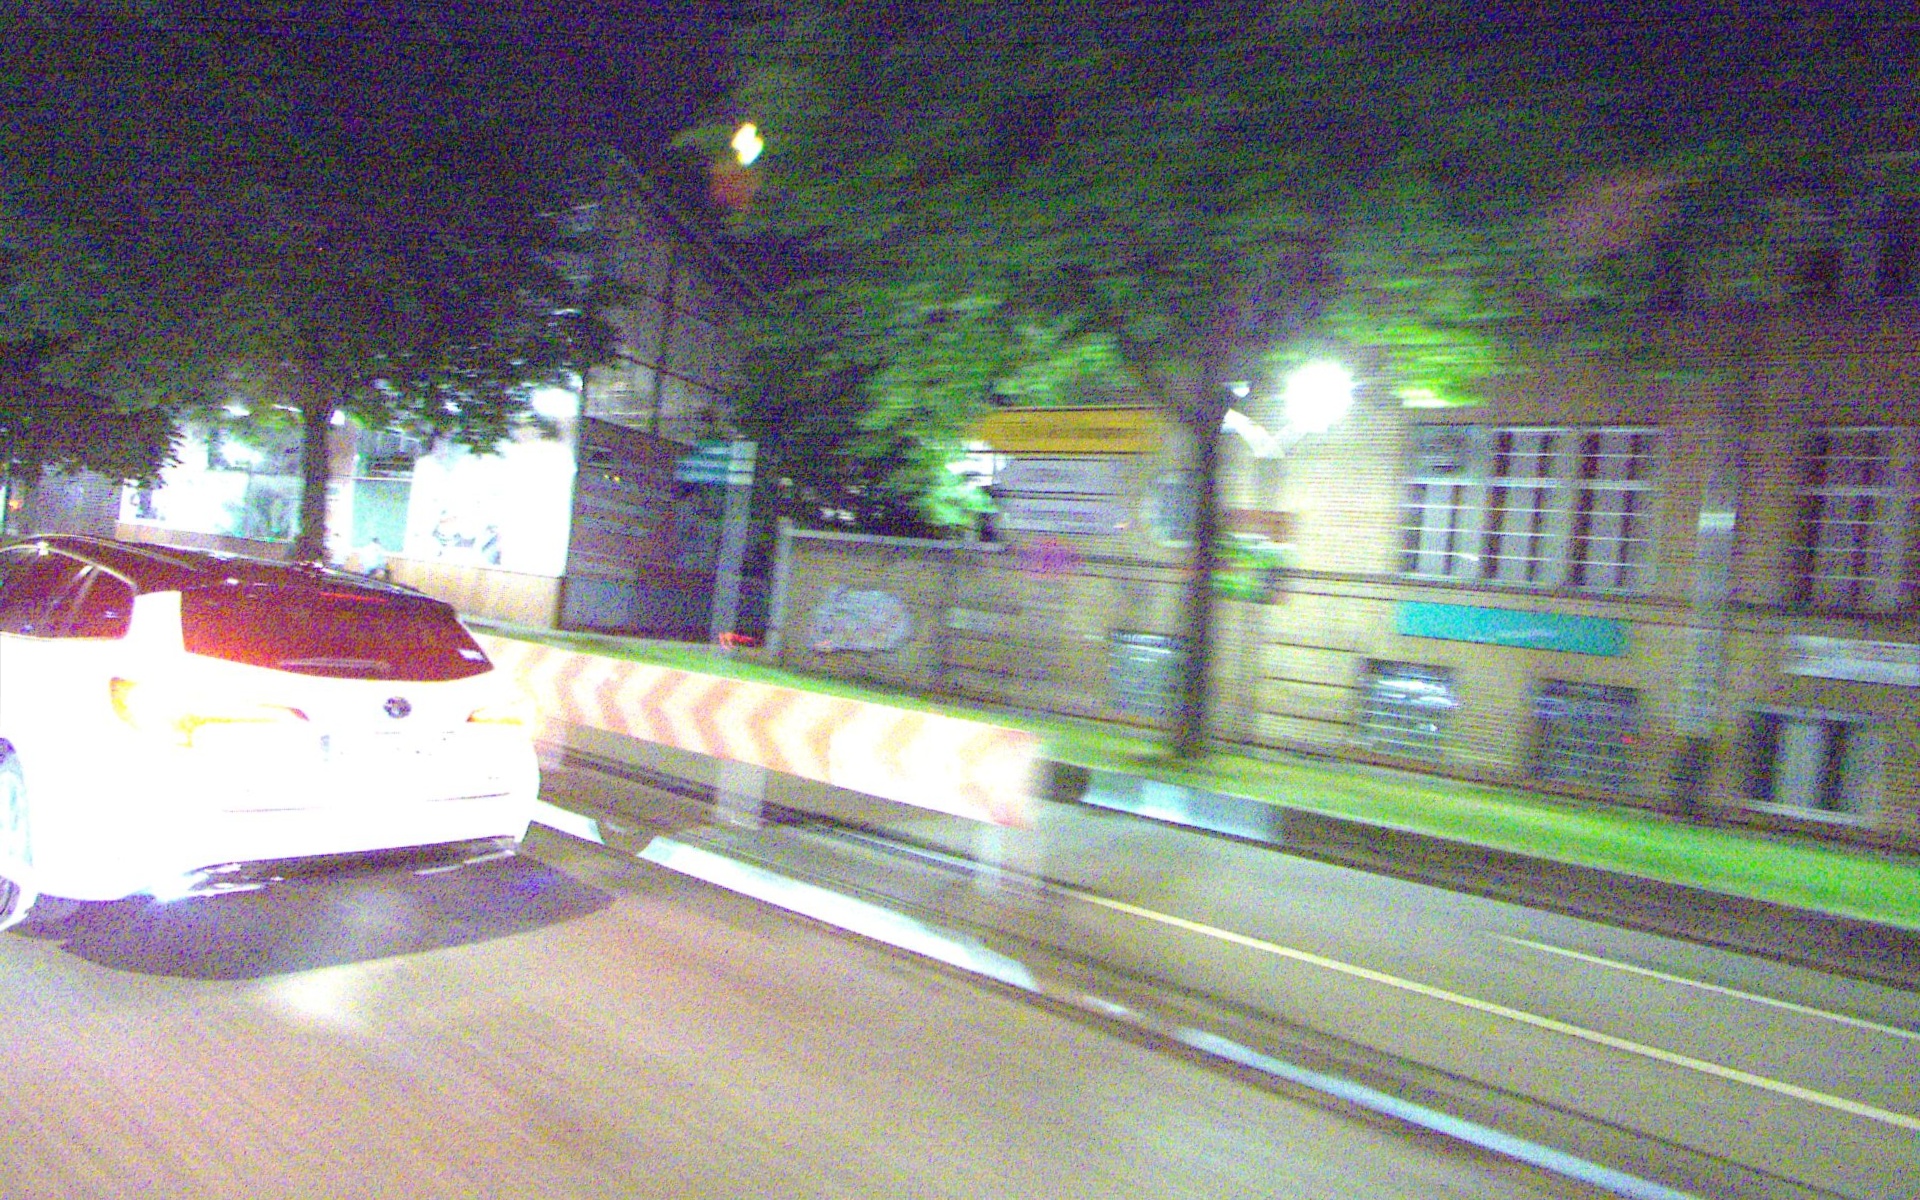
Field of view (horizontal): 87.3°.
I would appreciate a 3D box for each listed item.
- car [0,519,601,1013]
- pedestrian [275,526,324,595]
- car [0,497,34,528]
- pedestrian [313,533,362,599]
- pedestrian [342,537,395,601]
[{"bbox_3d":[-3.904,0.447,4.907,4.141,1.451,1.733,6,-3,32],"label":"car"},{"bbox_3d":[-18.535,-1.110,28.225,0.892,1.791,0.714,7,1,32],"label":"pedestrian"},{"bbox_3d":[-54.394,-5.053,57.171,3.768,1.506,1.575,6,0,32],"label":"car"},{"bbox_3d":[-17.947,-0.983,29.011,0.892,1.791,0.739,7,1,32],"label":"pedestrian"},{"bbox_3d":[-17.687,-0.921,30.089,0.892,1.791,0.901,6,1,32],"label":"pedestrian"}]
